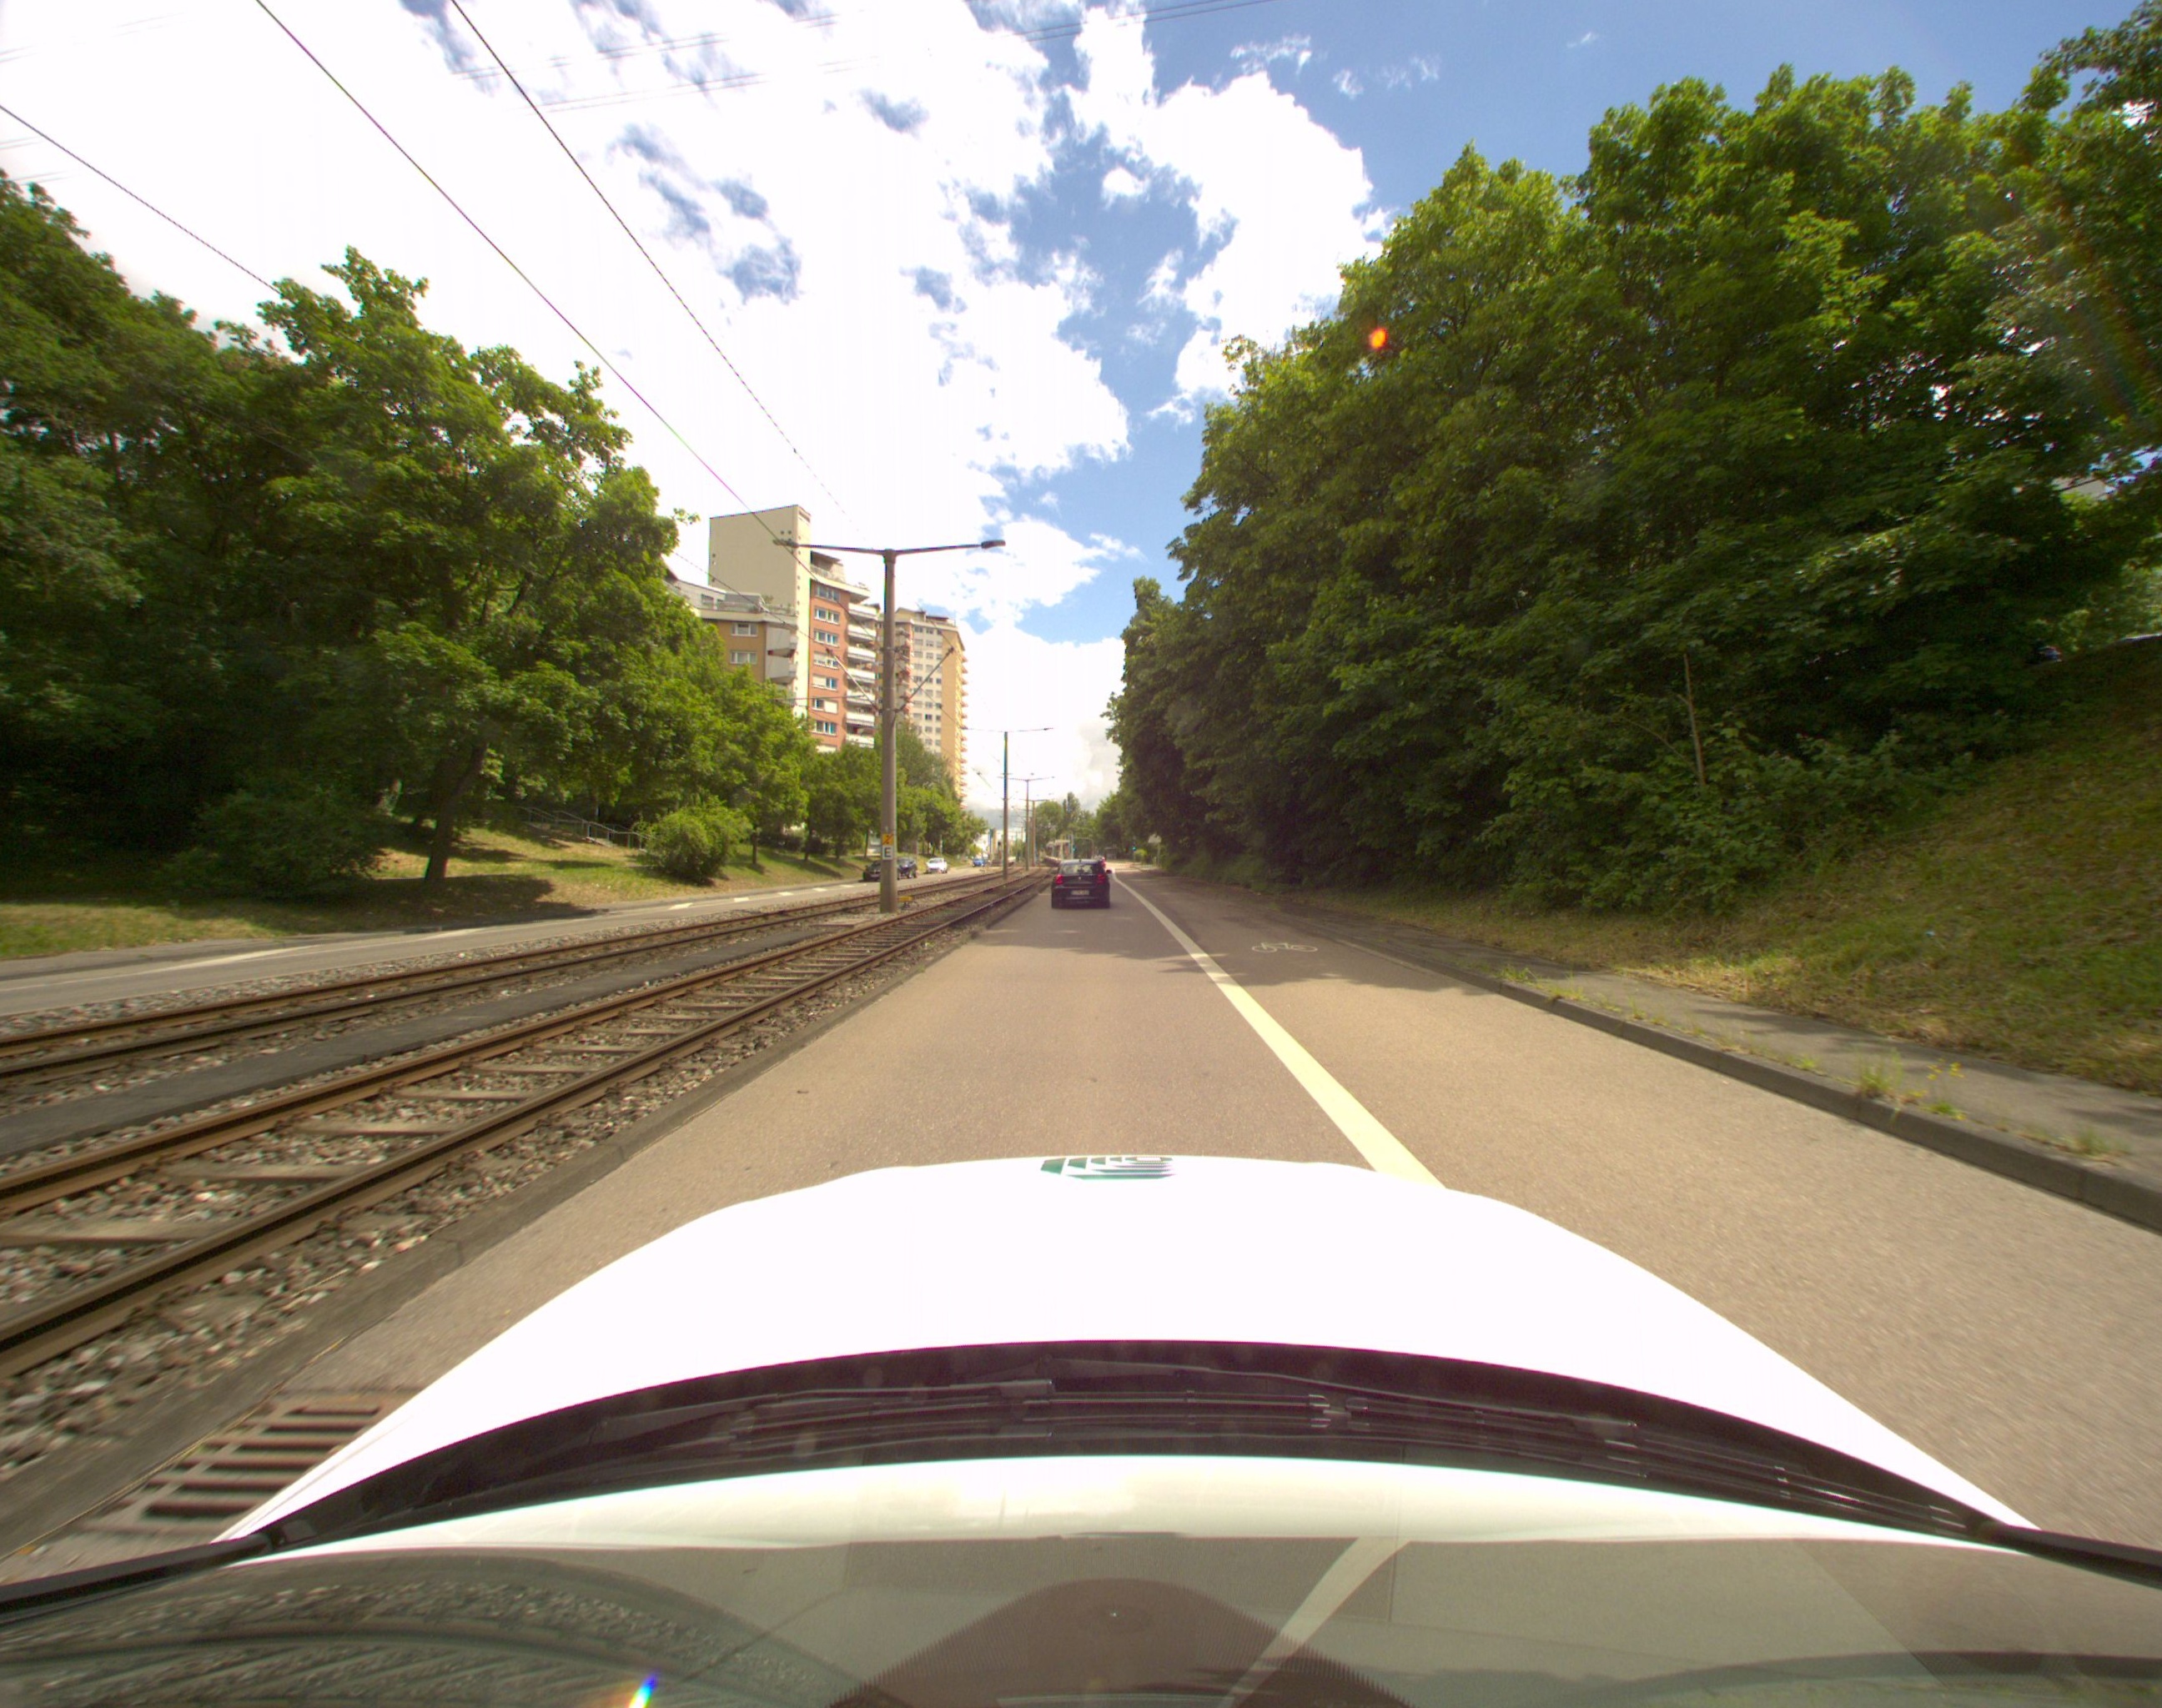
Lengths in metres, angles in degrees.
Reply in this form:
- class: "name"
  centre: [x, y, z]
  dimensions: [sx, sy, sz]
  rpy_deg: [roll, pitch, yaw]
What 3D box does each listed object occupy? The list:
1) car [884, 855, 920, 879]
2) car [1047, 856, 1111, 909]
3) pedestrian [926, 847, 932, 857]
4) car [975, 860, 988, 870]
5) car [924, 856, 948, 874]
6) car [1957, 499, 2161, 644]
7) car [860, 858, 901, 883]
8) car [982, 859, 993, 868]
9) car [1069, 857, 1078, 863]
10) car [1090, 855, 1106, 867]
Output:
- class: "car"
  centre: [-13.155, 0.972, 60.017]
  dimensions: [1.769, 1.630, 4.379]
  rpy_deg: [-1, -1, -1]
- class: "car"
  centre: [-0.077, 0.805, 24.890]
  dimensions: [1.776, 1.459, 3.919]
  rpy_deg: [-2, 0, -1]
- class: "pedestrian"
  centre: [-23.838, -0.343, 127.810]
  dimensions: [0.628, 1.534, 0.637]
  rpy_deg: [-1, 0, 19]
- class: "car"
  centre: [-15.025, 1.574, 122.521]
  dimensions: [1.716, 1.442, 3.929]
  rpy_deg: [-1, 0, -10]
- class: "car"
  centre: [-13.710, 1.028, 77.155]
  dimensions: [1.778, 1.532, 4.238]
  rpy_deg: [-2, 0, -4]
- class: "car"
  centre: [17.934, -4.846, 13.865]
  dimensions: [1.768, 1.498, 3.997]
  rpy_deg: [-1, 0, 0]
- class: "car"
  centre: [-13.079, 1.056, 53.270]
  dimensions: [1.769, 1.498, 3.995]
  rpy_deg: [-1, 0, -1]
- class: "car"
  centre: [-16.813, 1.650, 146.717]
  dimensions: [1.711, 1.564, 3.693]
  rpy_deg: [-1, 0, -3]
- class: "car"
  centre: [-1.780, 1.409, 198.050]
  dimensions: [1.906, 1.459, 3.996]
  rpy_deg: [-1, 0, -4]
- class: "car"
  centre: [2.162, 0.817, 101.930]
  dimensions: [1.777, 1.459, 3.917]
  rpy_deg: [-1, 0, -2]
